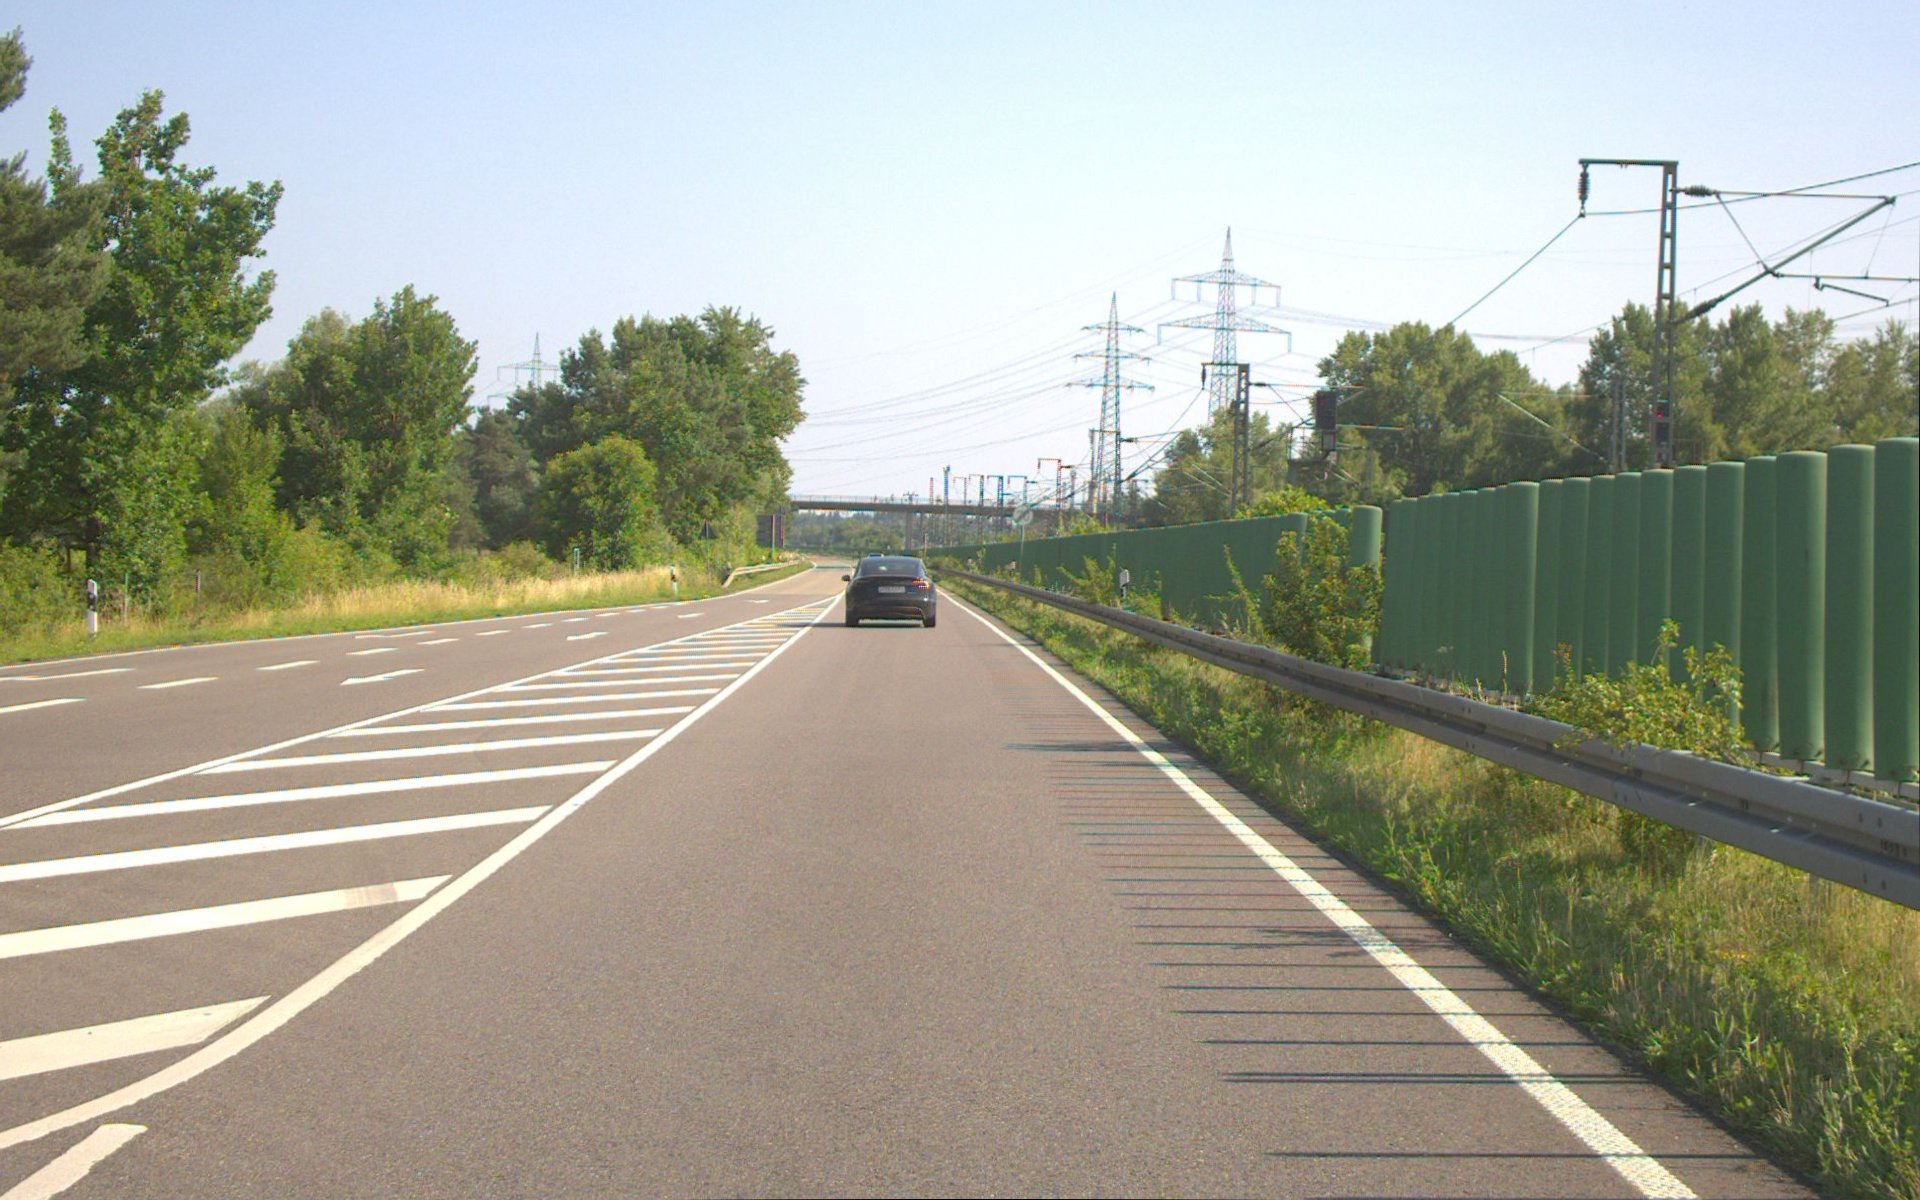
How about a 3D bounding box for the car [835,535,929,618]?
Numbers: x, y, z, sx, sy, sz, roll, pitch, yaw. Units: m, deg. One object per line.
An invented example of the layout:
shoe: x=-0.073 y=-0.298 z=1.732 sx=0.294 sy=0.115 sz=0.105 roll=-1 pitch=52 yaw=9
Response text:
car: x=-1.573 y=-0.495 z=70.712 sx=1.858 sy=1.636 sz=4.000 roll=0 pitch=1 yaw=0
